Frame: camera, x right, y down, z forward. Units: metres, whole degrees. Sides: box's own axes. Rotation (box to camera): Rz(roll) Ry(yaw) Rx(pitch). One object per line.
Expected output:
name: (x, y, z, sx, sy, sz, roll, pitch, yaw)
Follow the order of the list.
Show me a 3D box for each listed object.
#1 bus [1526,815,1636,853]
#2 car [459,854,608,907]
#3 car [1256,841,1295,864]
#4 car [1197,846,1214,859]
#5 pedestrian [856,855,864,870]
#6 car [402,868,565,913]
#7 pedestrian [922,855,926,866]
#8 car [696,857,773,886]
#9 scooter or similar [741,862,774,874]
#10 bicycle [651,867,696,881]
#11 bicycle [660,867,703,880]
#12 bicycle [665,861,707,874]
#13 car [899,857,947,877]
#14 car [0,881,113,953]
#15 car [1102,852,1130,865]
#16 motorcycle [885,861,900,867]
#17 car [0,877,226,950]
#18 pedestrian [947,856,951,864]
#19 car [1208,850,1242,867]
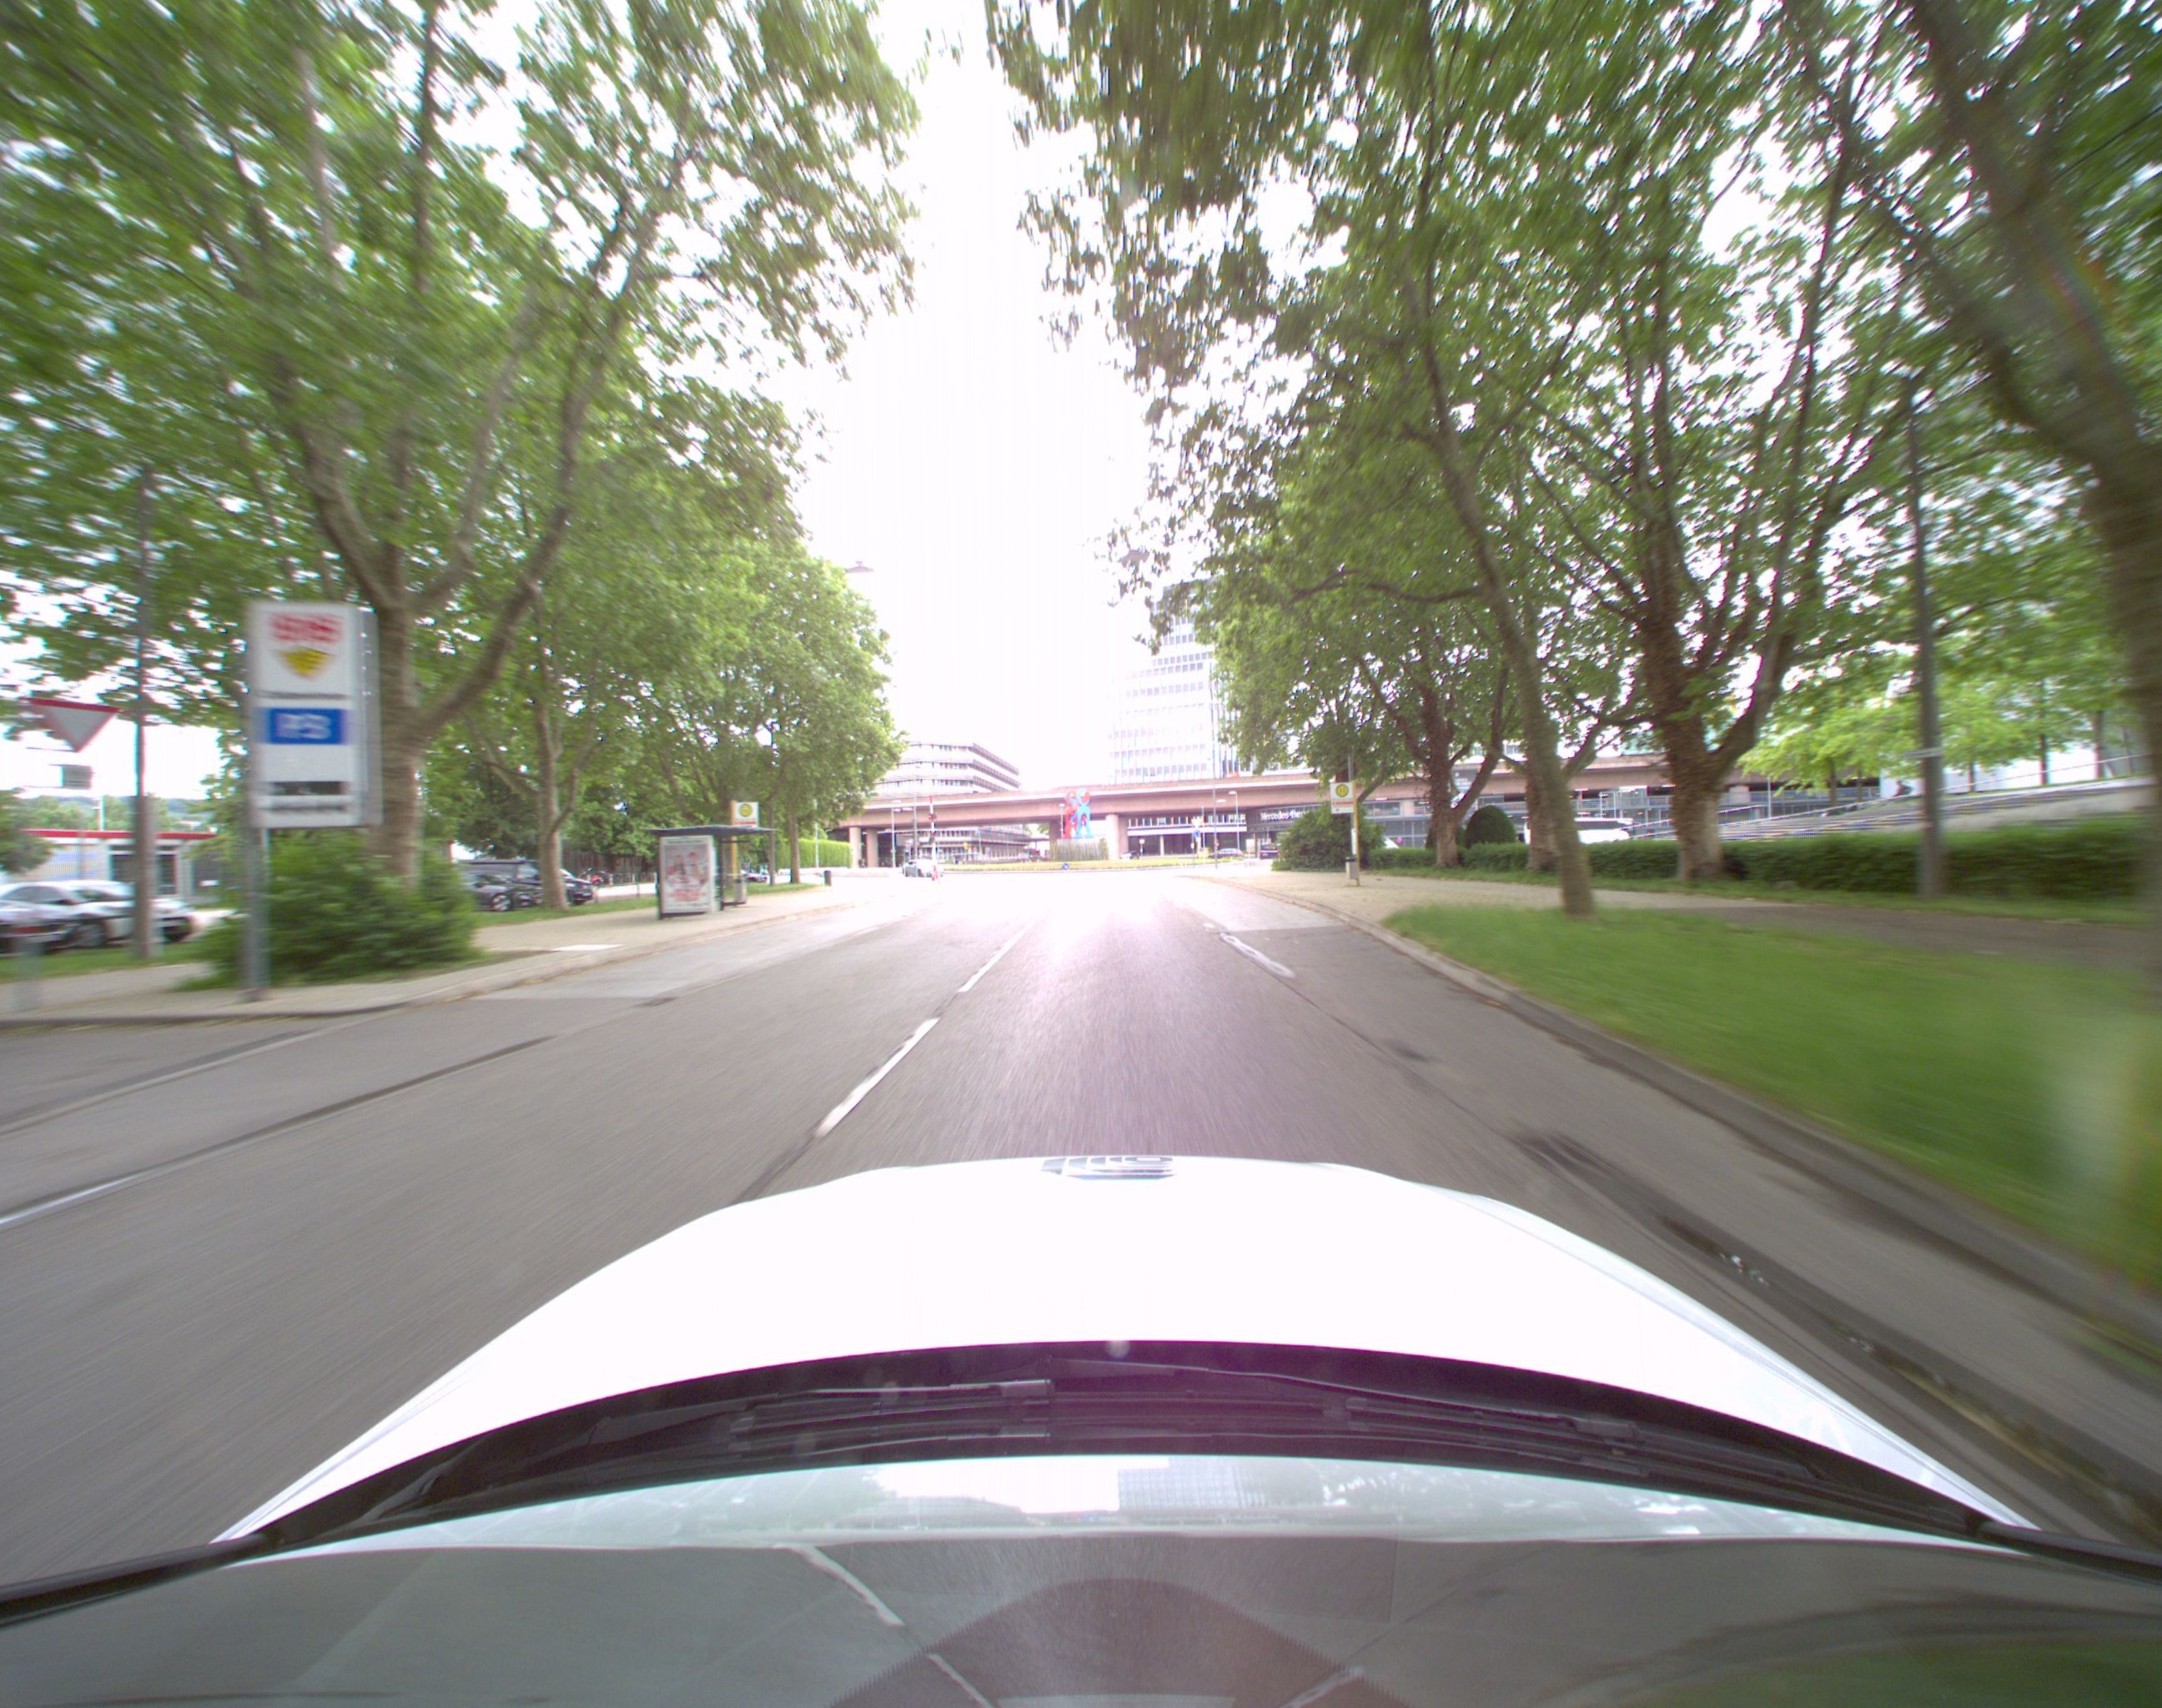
bus: (55.811, -2.194, 90.949, 11.035, 3.934, 2.752, -1, -1, -7)
car: (-22.535, 1.054, 33.665, 4.597, 2.025, 2.264, -1, 0, 3)
car: (18.020, -0.154, 75.274, 2.254, 2.014, 4.813, -1, 0, 29)
car: (19.865, -0.231, 129.705, 1.977, 2.014, 4.019, -1, 0, 18)
pedestrian: (-31.040, 1.194, 114.270, 1.043, 2.014, 0.597, -1, -1, -11)
car: (-22.430, 1.355, 30.698, 4.606, 1.568, 2.110, -1, -1, 3)
pedestrian: (-29.051, 1.127, 150.867, 0.588, 2.014, 0.597, -1, -1, -10)
car: (-22.018, 1.086, 51.829, 3.984, 1.605, 2.226, -2, 0, -8)
scooter or similar: (-35.122, 1.478, 88.458, 3.187, 1.249, 0.769, -1, -1, -15)
bicycle: (-33.686, 1.641, 67.327, 3.186, 1.097, 0.769, -1, -1, -14)
bicycle: (-34.338, 1.670, 70.057, 3.186, 1.097, 0.769, -1, -1, -14)
bicycle: (-34.602, 1.212, 71.407, 3.186, 1.097, 0.769, -1, -1, -14)
car: (-12.953, 1.090, 66.716, 1.916, 1.453, 4.760, -4, 0, -37)
car: (-22.592, 1.271, 16.307, 3.974, 1.324, 2.002, -1, 0, 0)
car: (4.819, 0.591, 112.911, 1.974, 1.772, 4.026, -1, 0, 35)
motorcycle: (-36.993, 1.966, 159.939, 2.630, 1.112, 1.045, -1, 0, 22)
car: (-23.046, 1.363, 19.043, 3.972, 1.522, 2.002, -1, 0, 1)
pedestrian: (-31.642, 1.438, 195.628, 0.773, 2.014, 0.671, -1, -1, 1)
car: (17.178, 0.556, 97.240, 3.691, 1.926, 1.930, -1, 0, 18)
